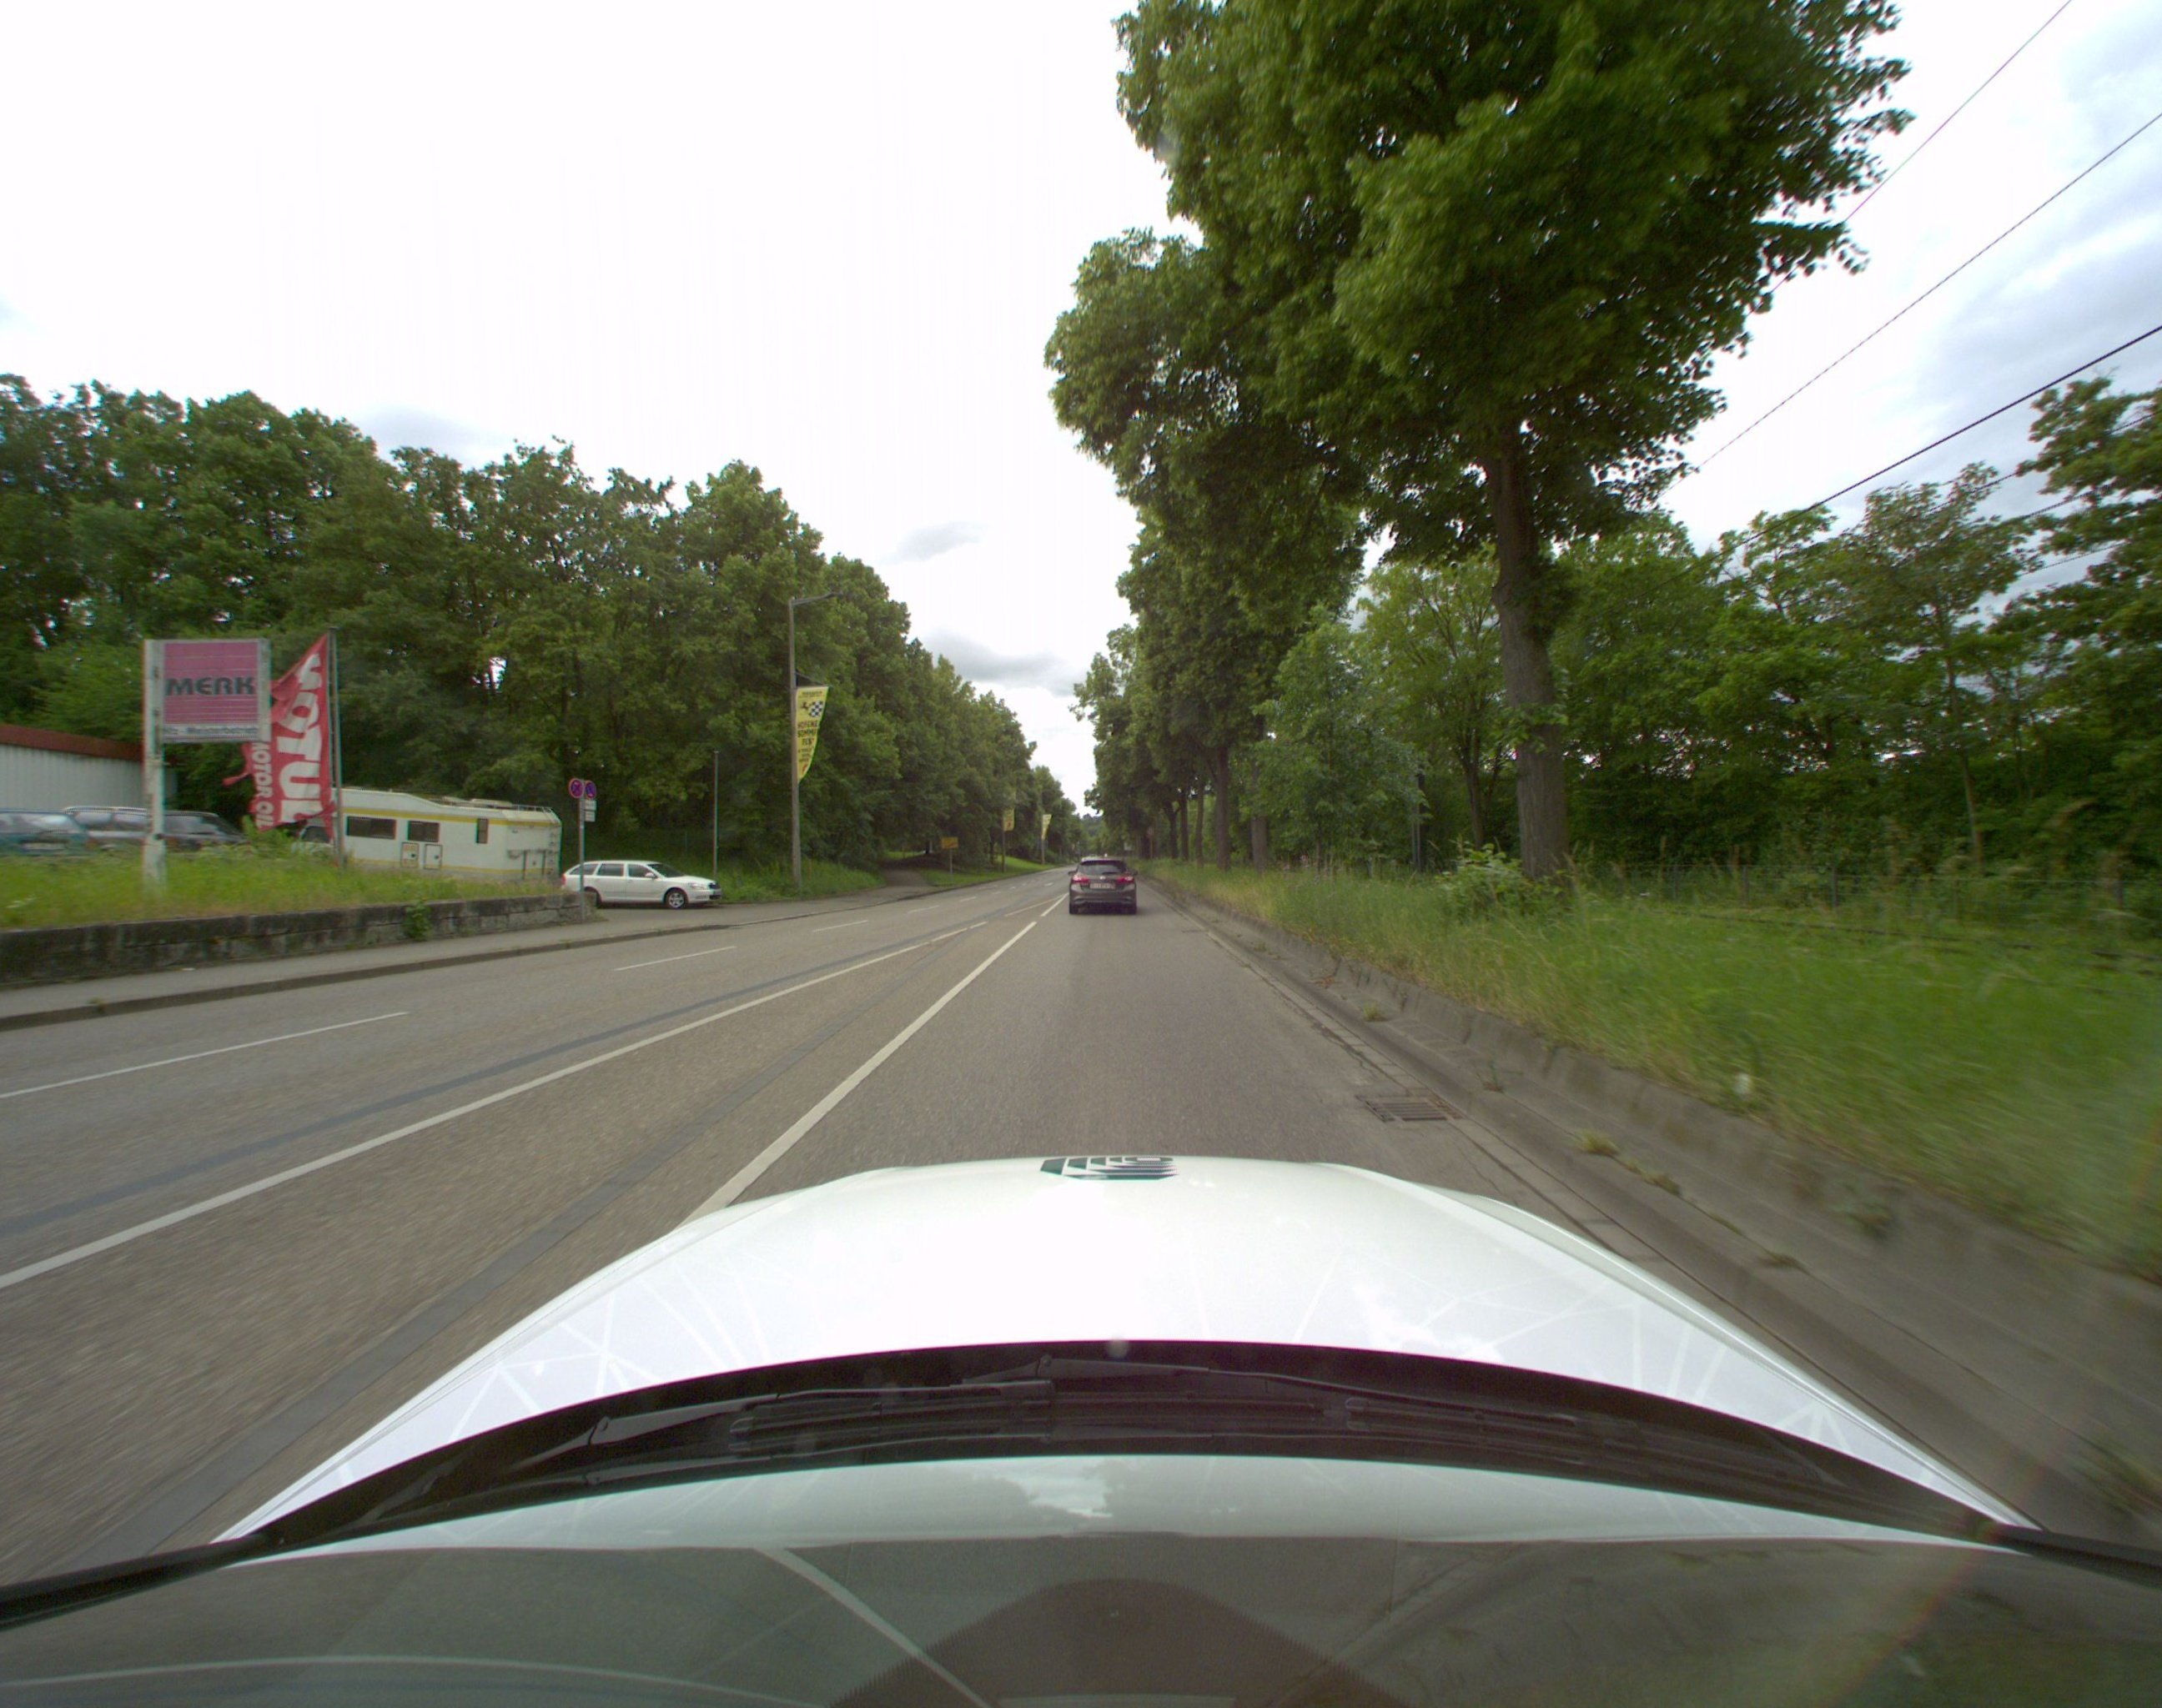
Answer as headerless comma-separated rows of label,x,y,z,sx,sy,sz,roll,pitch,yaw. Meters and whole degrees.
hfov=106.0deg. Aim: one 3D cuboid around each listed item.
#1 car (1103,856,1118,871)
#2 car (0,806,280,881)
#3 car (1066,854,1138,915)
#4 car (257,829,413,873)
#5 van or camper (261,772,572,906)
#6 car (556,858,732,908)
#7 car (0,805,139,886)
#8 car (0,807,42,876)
car,3.092,0.983,84.934,1.497,1.529,3.674,0,-1,3
car,-19.002,-0.188,16.364,3.967,1.370,2.003,1,-1,6
car,0.657,0.782,22.567,1.829,1.529,3.932,0,-1,3
car,-25.296,-0.058,27.814,1.508,1.346,3.879,2,-1,4
van or camper,-20.317,-0.440,25.210,7.115,3.371,2.797,4,0,1
car,-13.432,0.877,25.243,4.362,1.441,1.960,1,0,-1
car,-18.818,-0.137,13.651,3.914,1.268,1.887,1,-1,3
car,-23.789,-0.274,16.347,3.725,1.400,1.849,1,-1,6
